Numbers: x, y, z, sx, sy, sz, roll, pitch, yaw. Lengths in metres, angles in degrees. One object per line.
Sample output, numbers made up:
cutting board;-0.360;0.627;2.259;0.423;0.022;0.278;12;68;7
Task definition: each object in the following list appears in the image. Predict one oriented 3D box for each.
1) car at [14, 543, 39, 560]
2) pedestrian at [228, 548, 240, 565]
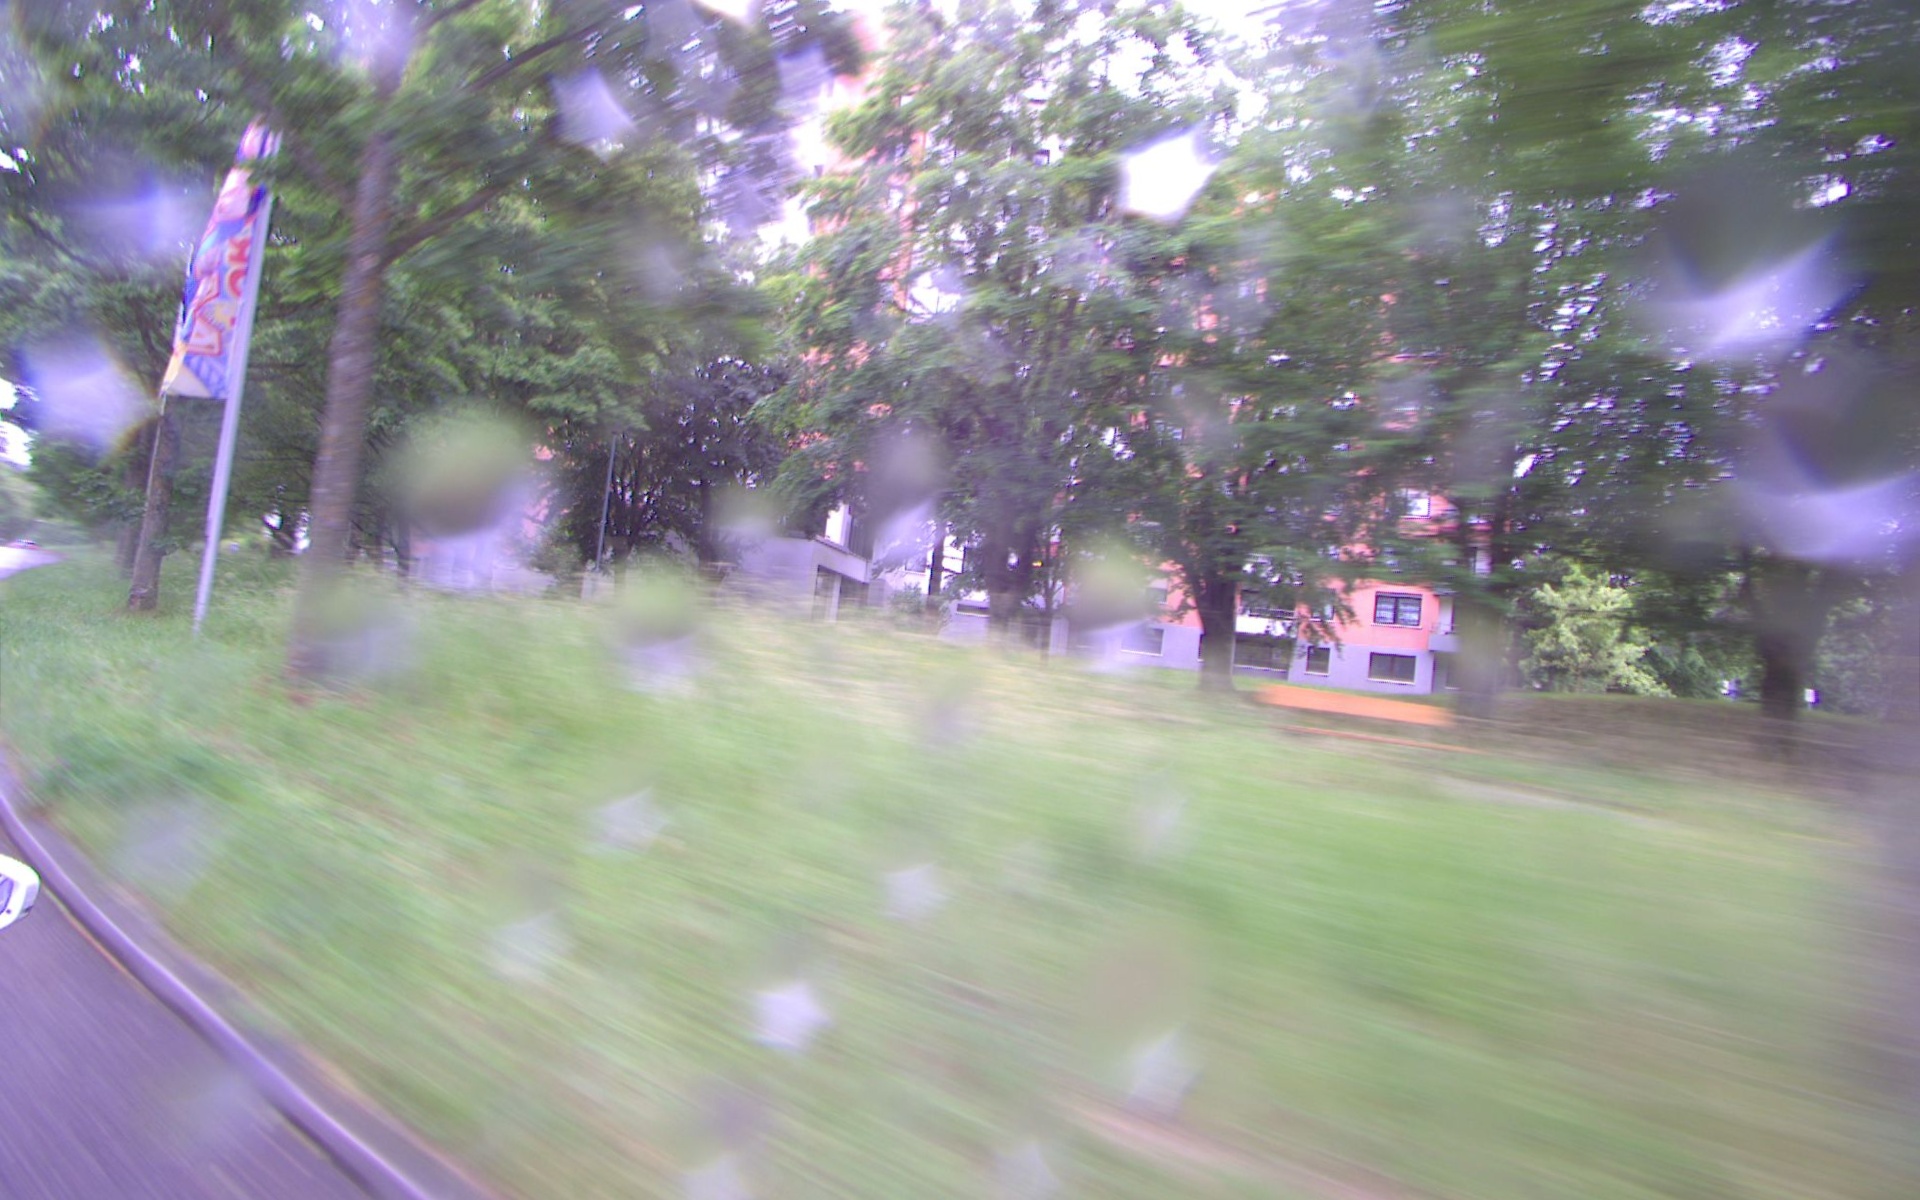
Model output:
car;-99.807;-5.149;107.575;1.730;1.527;3.958;7;-4;-41
pedestrian;-57.782;-3.454;80.056;0.651;1.300;0.618;6;-1;-40
